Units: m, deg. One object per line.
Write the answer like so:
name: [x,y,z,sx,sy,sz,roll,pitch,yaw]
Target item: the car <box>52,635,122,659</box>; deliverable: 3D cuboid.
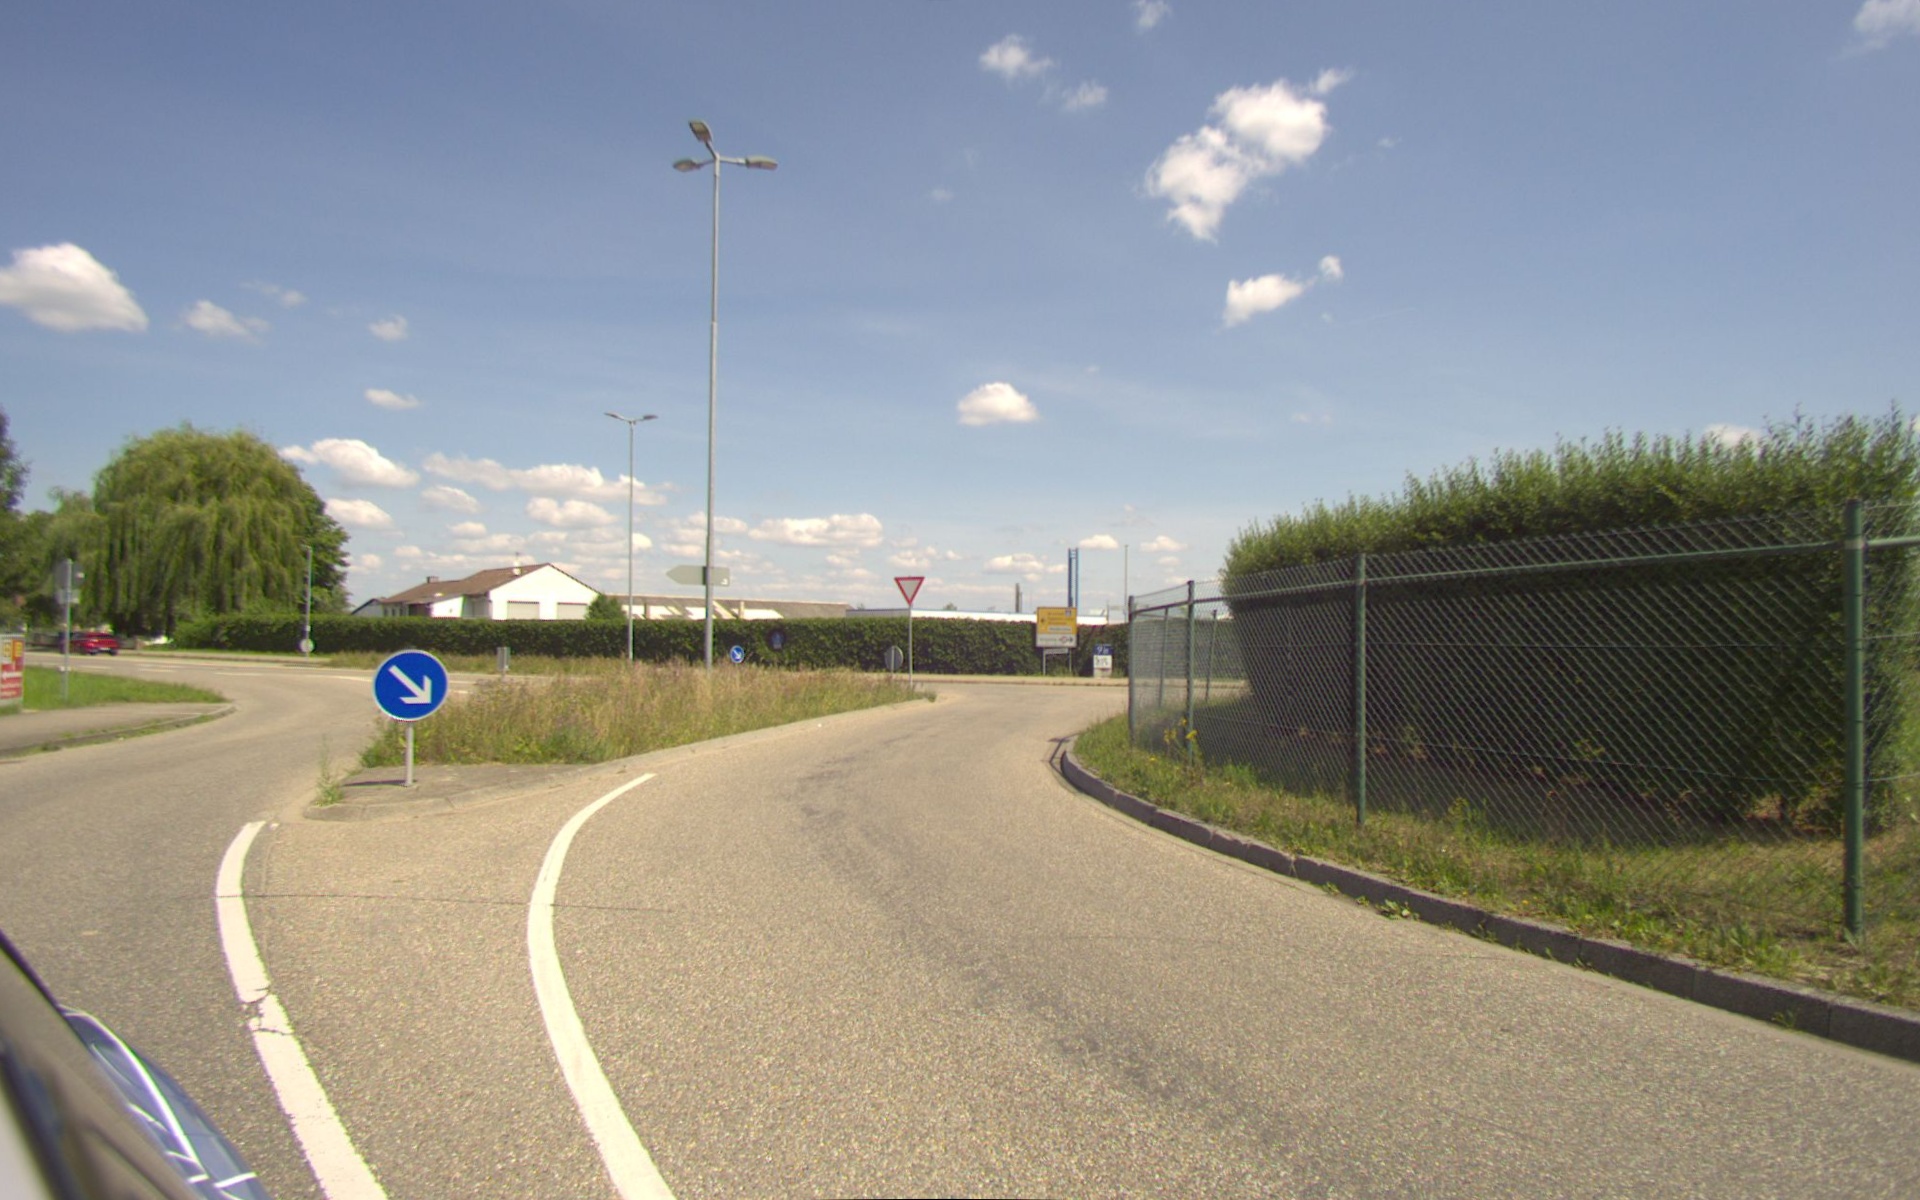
car: [-53.936,2.902,62.512,4.368,1.475,1.867,-1,-3,30]
